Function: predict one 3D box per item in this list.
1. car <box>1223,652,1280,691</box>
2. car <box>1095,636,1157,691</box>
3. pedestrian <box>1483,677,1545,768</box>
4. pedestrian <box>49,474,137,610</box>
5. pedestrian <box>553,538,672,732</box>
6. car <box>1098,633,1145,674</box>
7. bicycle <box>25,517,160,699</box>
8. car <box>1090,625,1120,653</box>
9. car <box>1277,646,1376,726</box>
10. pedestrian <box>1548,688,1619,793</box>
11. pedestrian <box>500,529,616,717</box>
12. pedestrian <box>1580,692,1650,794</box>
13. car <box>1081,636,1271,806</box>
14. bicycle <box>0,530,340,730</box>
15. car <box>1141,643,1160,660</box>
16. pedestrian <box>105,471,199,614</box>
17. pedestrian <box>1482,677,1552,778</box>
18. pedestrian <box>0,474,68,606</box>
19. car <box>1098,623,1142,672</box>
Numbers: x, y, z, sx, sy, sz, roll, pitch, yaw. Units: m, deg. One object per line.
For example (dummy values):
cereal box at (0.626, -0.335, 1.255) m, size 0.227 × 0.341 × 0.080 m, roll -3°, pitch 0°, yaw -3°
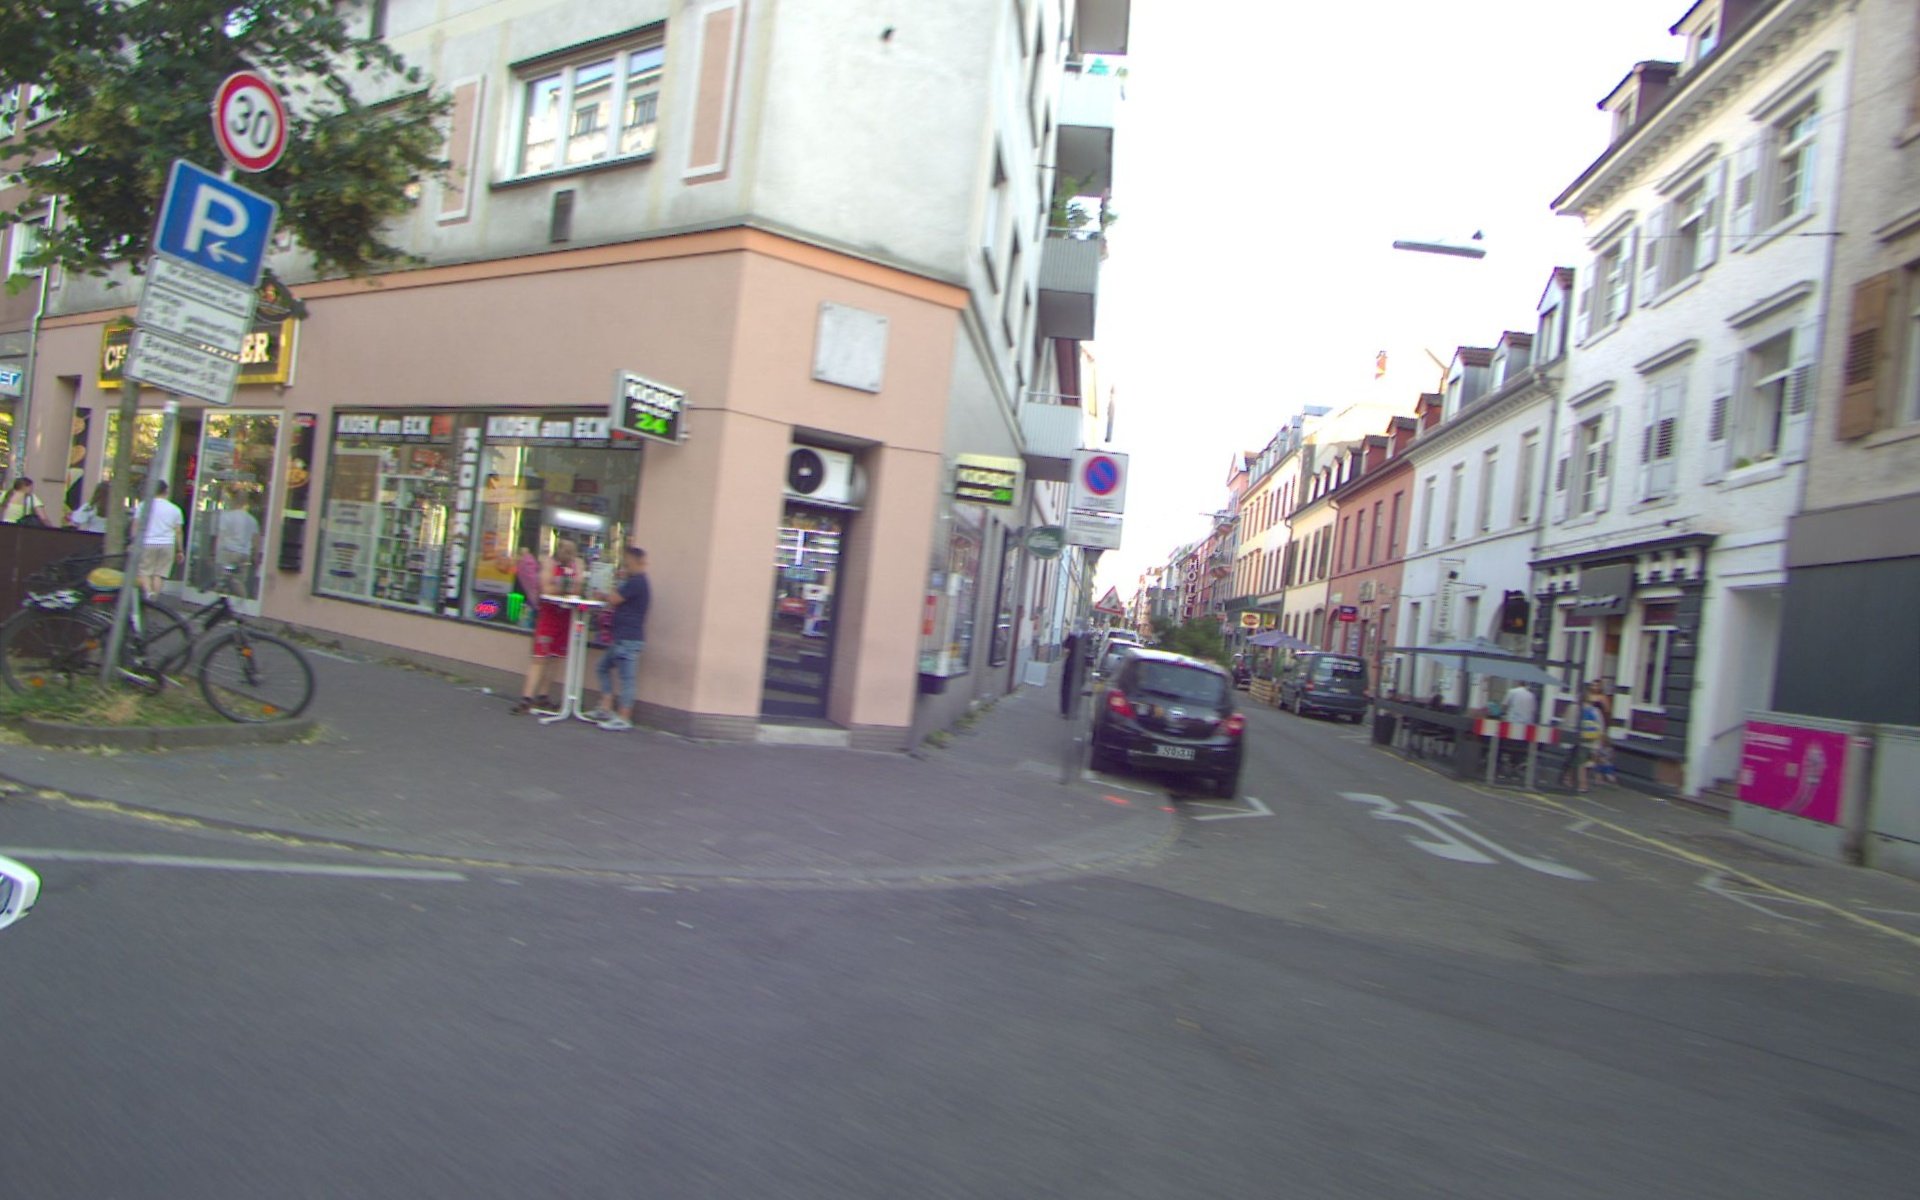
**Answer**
car at (13.334, 3.258, 46.203) m, size 1.755 × 1.455 × 4.051 m, roll 7°, pitch -1°, yaw 8°
car at (5.589, 2.115, 34.242) m, size 1.755 × 1.506 × 3.679 m, roll 9°, pitch -1°, yaw 8°
pedestrian at (10.927, 2.403, 19.837) m, size 0.827 × 1.657 × 0.798 m, roll 7°, pitch 0°, yaw 34°
pedestrian at (-11.660, -0.785, 13.525) m, size 0.879 × 1.700 × 0.630 m, roll 7°, pitch 0°, yaw 40°
pedestrian at (-3.085, 0.303, 8.936) m, size 0.652 × 1.604 × 0.567 m, roll 8°, pitch 2°, yaw 32°
car at (7.150, 2.357, 44.783) m, size 1.755 × 1.506 × 3.679 m, roll 9°, pitch -1°, yaw 8°
bicycle at (-6.520, 0.013, 7.632) m, size 0.595 × 1.192 × 1.826 m, roll 7°, pitch -1°, yaw -39°
car at (10.065, 2.708, 69.878) m, size 1.755 × 1.666 × 3.679 m, roll 9°, pitch -1°, yaw 8°
car at (10.876, 2.489, 30.143) m, size 1.755 × 1.988 × 4.051 m, roll 7°, pitch -1°, yaw 8°
pedestrian at (10.473, 2.335, 16.891) m, size 0.827 × 1.591 × 0.798 m, roll 7°, pitch 0°, yaw 34°
pedestrian at (-3.724, 0.211, 9.323) m, size 0.652 × 1.620 × 0.567 m, roll 8°, pitch 2°, yaw 32°
pedestrian at (11.250, 2.437, 17.293) m, size 0.827 × 1.591 × 0.798 m, roll 7°, pitch 0°, yaw 34°
car at (2.501, 1.342, 12.418) m, size 1.755 × 1.506 × 3.679 m, roll 9°, pitch -1°, yaw 8°
bicycle at (-5.391, 0.212, 6.751) m, size 1.938 × 1.086 × 0.701 m, roll 8°, pitch -1°, yaw -27°
car at (23.007, 6.230, 121.645) m, size 1.755 × 1.666 × 3.679 m, roll 9°, pitch -1°, yaw 8°
pedestrian at (-11.087, -0.792, 13.797) m, size 0.879 × 1.826 × 0.697 m, roll 7°, pitch 0°, yaw 40°
pedestrian at (9.570, 2.173, 17.280) m, size 0.827 × 1.591 × 0.798 m, roll 7°, pitch 0°, yaw 34°
pedestrian at (-12.579, -0.812, 13.438) m, size 0.900 × 1.645 × 0.795 m, roll 7°, pitch 0°, yaw 44°
car at (7.882, 2.358, 49.928) m, size 1.755 × 2.079 × 3.679 m, roll 9°, pitch -1°, yaw 8°
